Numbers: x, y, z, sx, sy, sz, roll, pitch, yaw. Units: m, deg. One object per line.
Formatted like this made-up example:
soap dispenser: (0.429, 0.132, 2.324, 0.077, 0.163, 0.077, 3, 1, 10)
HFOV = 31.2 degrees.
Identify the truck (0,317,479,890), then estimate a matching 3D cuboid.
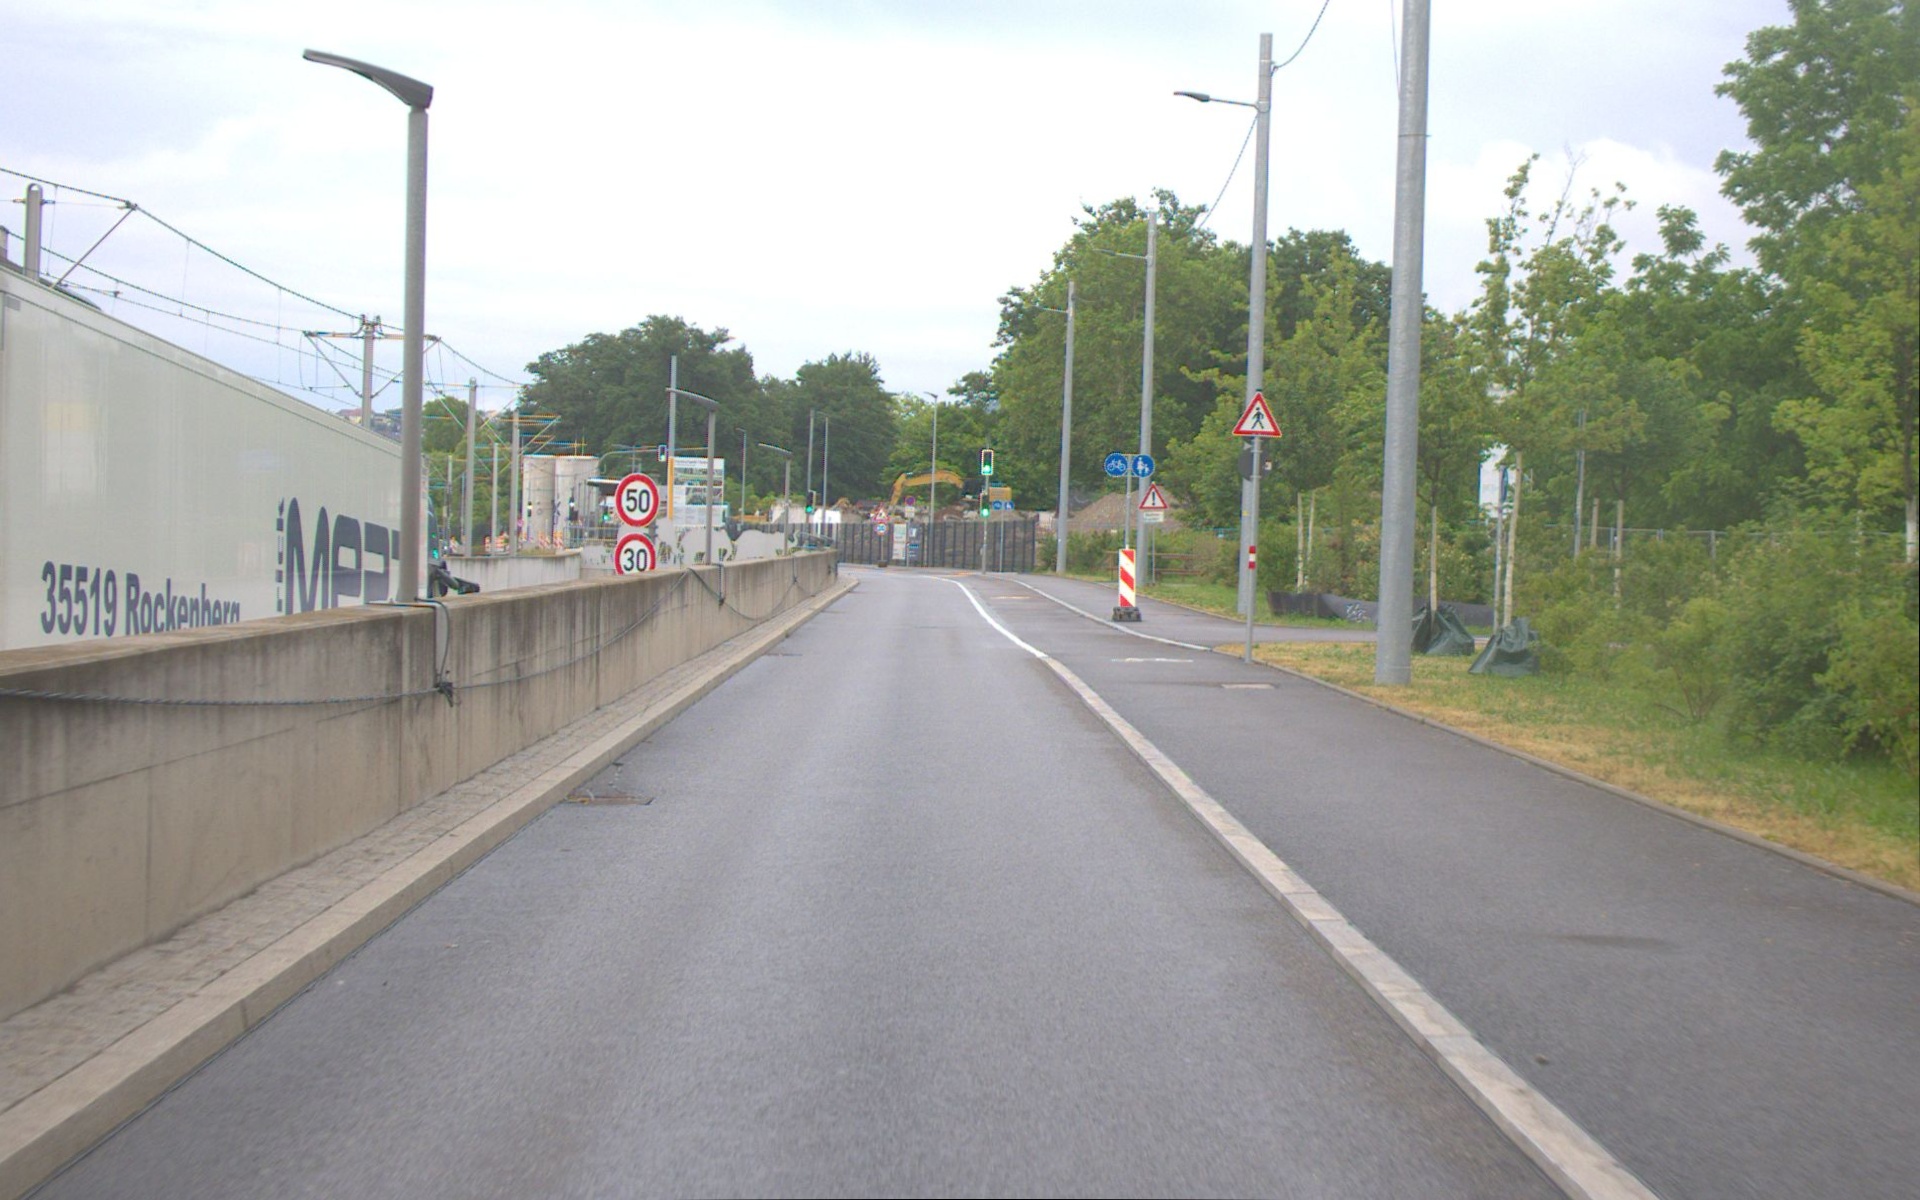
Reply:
truck: (-5.776, -0.035, 28.354, 2.756, 4.190, 6.307, 0, 1, 0)

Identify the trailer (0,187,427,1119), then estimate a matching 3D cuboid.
trailer: (-5.762, 0.111, 21.759, 2.762, 4.238, 13.184, 0, 1, 0)
